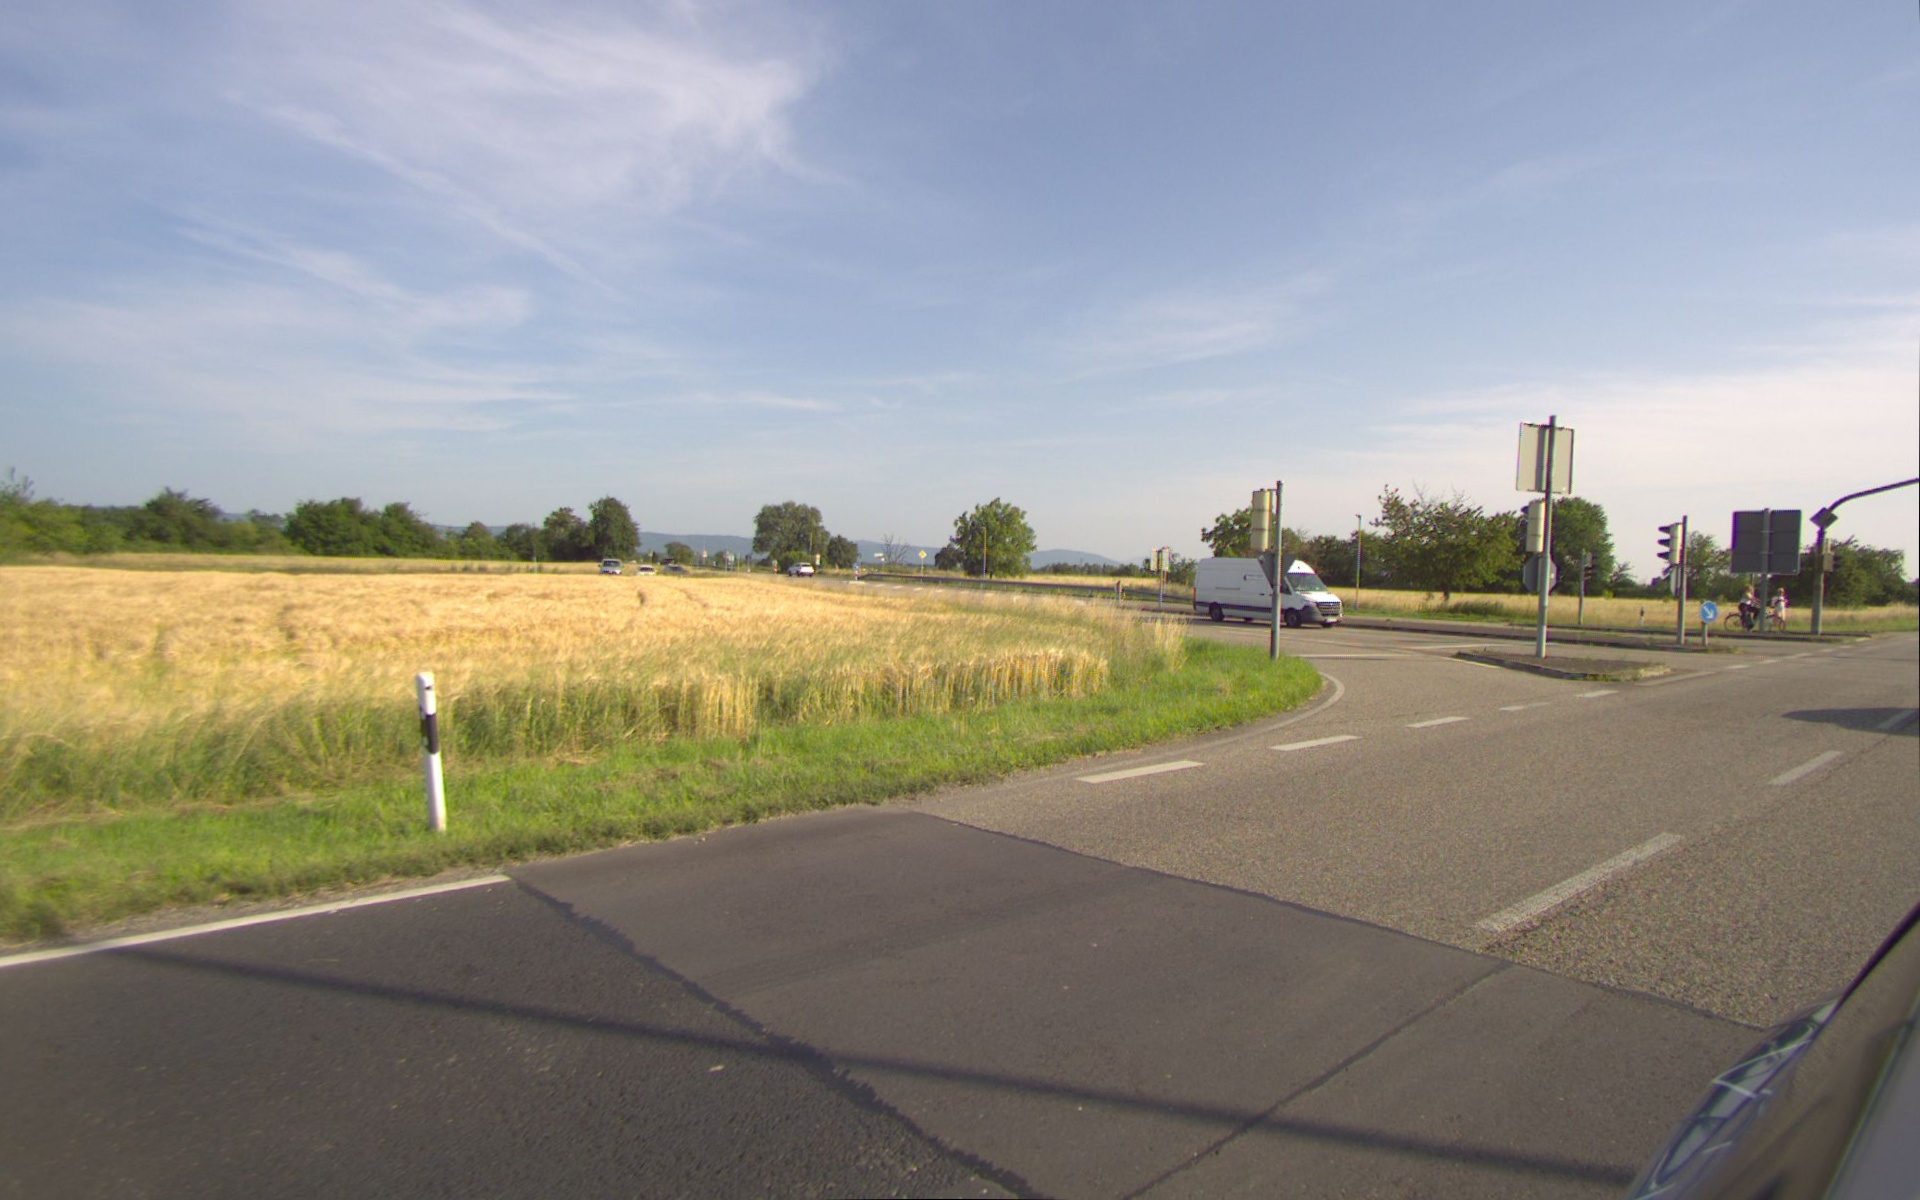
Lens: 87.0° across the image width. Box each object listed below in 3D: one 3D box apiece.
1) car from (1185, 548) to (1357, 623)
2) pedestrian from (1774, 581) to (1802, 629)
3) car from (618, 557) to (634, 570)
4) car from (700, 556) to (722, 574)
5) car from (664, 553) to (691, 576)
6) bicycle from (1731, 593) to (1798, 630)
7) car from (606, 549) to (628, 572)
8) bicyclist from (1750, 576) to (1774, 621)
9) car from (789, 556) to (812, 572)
[{"bbox_3d":[12.046,-0.656,39.937,2.049,2.702,7.229,-1,2,-26],"label":"car"},{"bbox_3d":[31.204,0.186,38.142,0.586,1.773,0.624,0,0,-30],"label":"pedestrian"},{"bbox_3d":[-57.057,-6.183,172.836,1.959,2.039,4.006,-1,1,-27],"label":"car"},{"bbox_3d":[-25.975,-3.669,105.488,1.808,1.776,4.008,-1,1,-20],"label":"car"},{"bbox_3d":[-25.711,-3.220,91.974,1.808,1.972,4.007,-1,1,-24],"label":"car"},{"bbox_3d":[29.495,0.392,37.116,0.519,1.305,1.858,-1,1,-37],"label":"bicycle"},{"bbox_3d":[-30.287,-3.452,89.279,1.808,1.972,4.009,0,1,-19],"label":"car"},{"bbox_3d":[29.439,-0.073,37.163,0.495,1.632,0.560,0,0,-34],"label":"bicyclist"},{"bbox_3d":[-18.021,-4.068,114.414,1.698,1.683,4.008,-1,1,-22],"label":"car"}]
